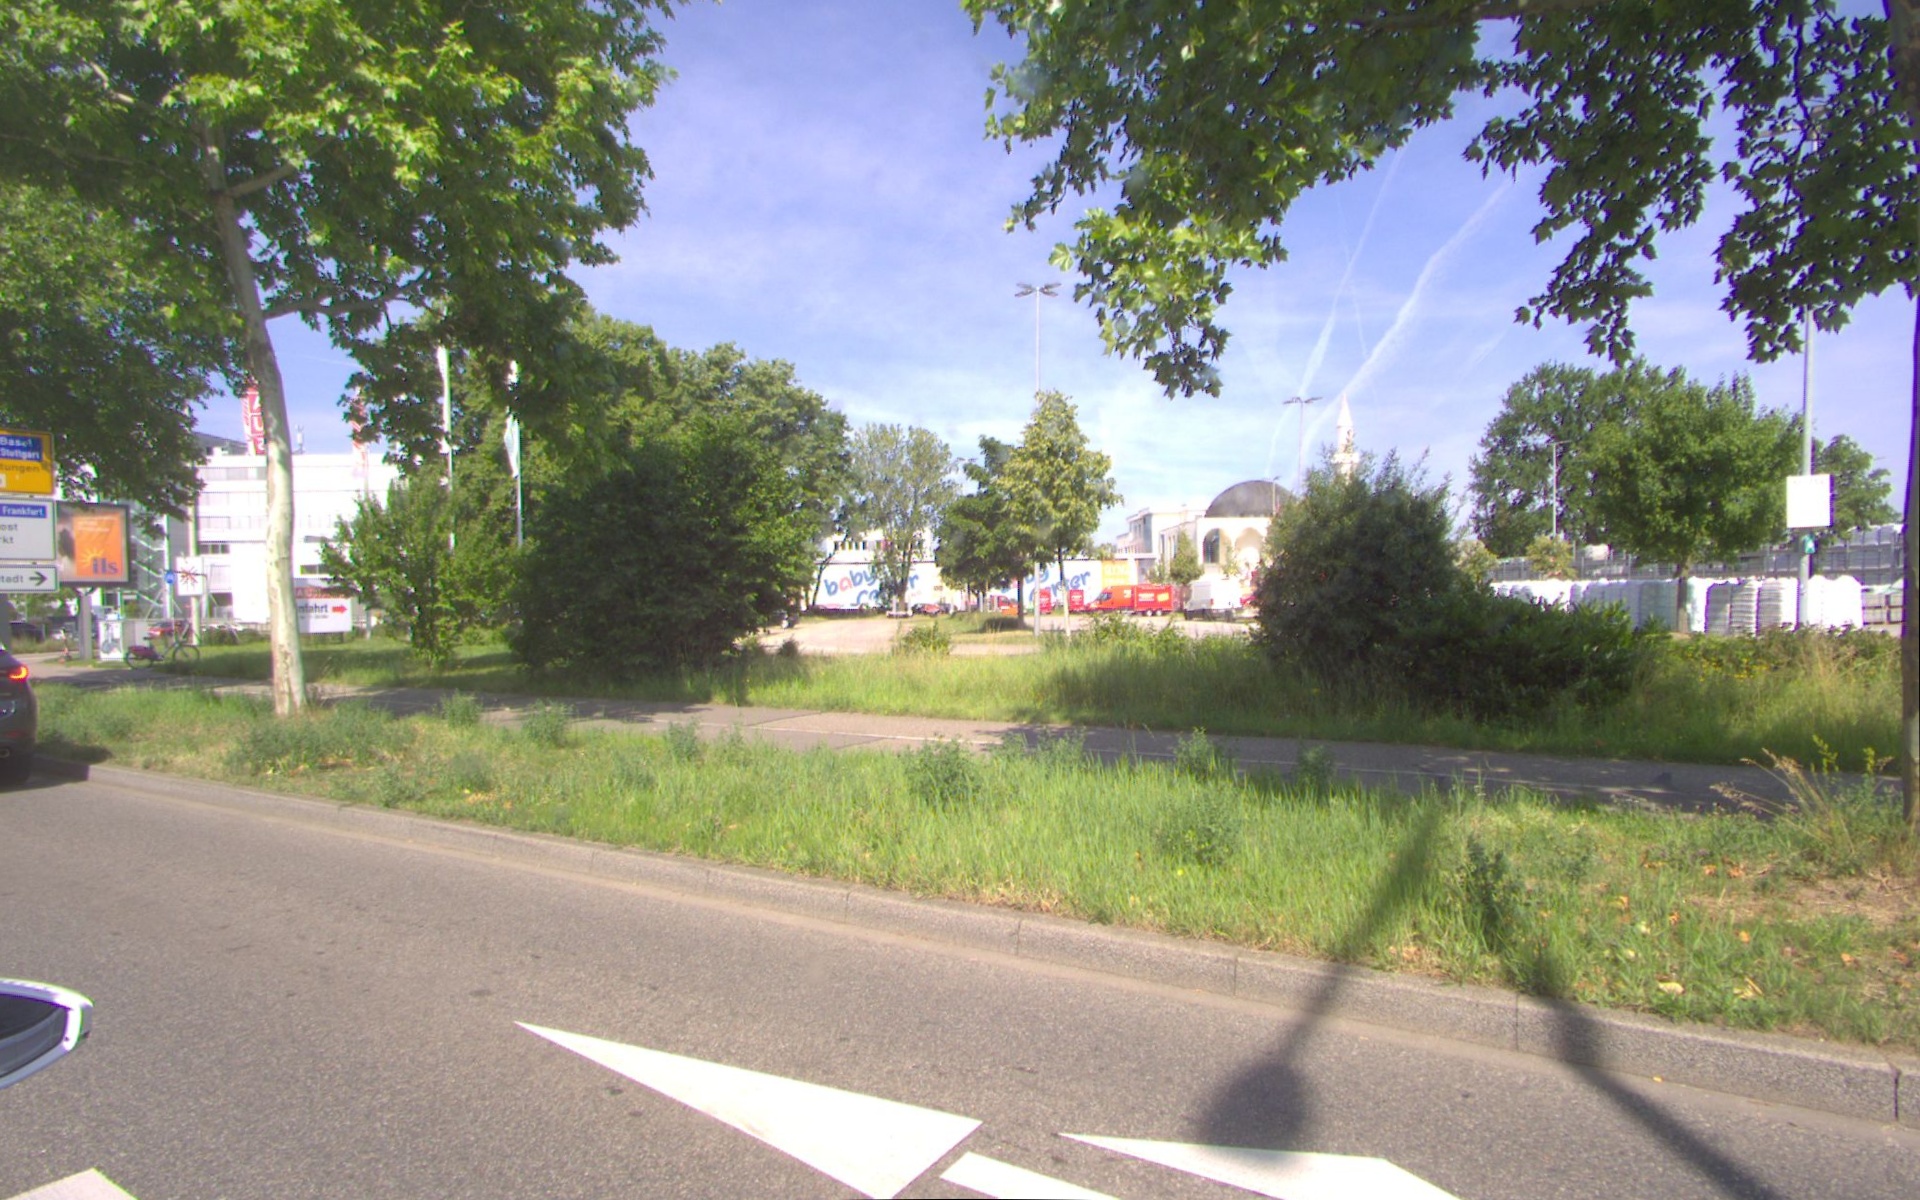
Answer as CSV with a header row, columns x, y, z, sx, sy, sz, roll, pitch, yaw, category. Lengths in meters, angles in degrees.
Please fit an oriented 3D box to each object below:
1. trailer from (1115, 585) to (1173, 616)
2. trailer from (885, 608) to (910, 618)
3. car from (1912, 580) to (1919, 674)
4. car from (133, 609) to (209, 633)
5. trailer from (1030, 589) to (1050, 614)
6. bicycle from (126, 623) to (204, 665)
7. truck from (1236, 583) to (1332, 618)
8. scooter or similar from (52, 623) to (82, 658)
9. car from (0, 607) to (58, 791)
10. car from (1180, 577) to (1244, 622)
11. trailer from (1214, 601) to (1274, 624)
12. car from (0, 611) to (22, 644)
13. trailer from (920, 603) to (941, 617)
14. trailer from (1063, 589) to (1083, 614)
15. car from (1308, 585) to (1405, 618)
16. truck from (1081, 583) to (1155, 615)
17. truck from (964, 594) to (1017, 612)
x,y,z,sx,sy,sz,roll,pitch,yaw,category
14.562,0.007,79.407,4.325,2.408,1.751,0,1,0,trailer
-5.887,1.229,94.867,2.059,0.792,4.411,-1,0,1,trailer
16.490,0.449,15.199,1.820,1.606,3.849,-1,0,25,car
-53.948,1.413,68.598,1.747,1.463,4.625,-1,0,-4,car
7.804,0.102,97.767,1.560,2.408,4.410,0,1,-1,trailer
-23.750,1.298,29.951,1.771,1.123,0.499,-3,2,-40,bicycle
21.677,0.023,67.140,5.751,2.168,2.066,-1,0,-1,truck
-29.843,1.335,33.466,1.107,1.141,0.423,-1,1,32,scooter or similar
-10.885,0.930,9.888,4.431,1.680,1.763,-1,-2,32,car
15.569,-0.015,62.178,1.980,2.576,5.687,-3,0,-6,car
15.988,0.684,56.586,2.029,1.137,4.031,-3,0,-2,trailer
-50.091,1.434,50.207,1.879,1.711,4.625,-1,0,-4,car
-2.873,0.914,95.615,1.560,1.304,4.409,-1,0,-7,trailer
10.951,0.106,97.149,1.520,2.390,4.410,0,1,2,trailer
22.258,0.071,56.315,4.737,1.841,1.873,0,2,-6,car
13.387,-0.081,85.144,5.914,2.644,2.018,0,0,-6,truck
3.425,0.339,112.882,5.888,1.855,2.188,0,-2,-2,truck
